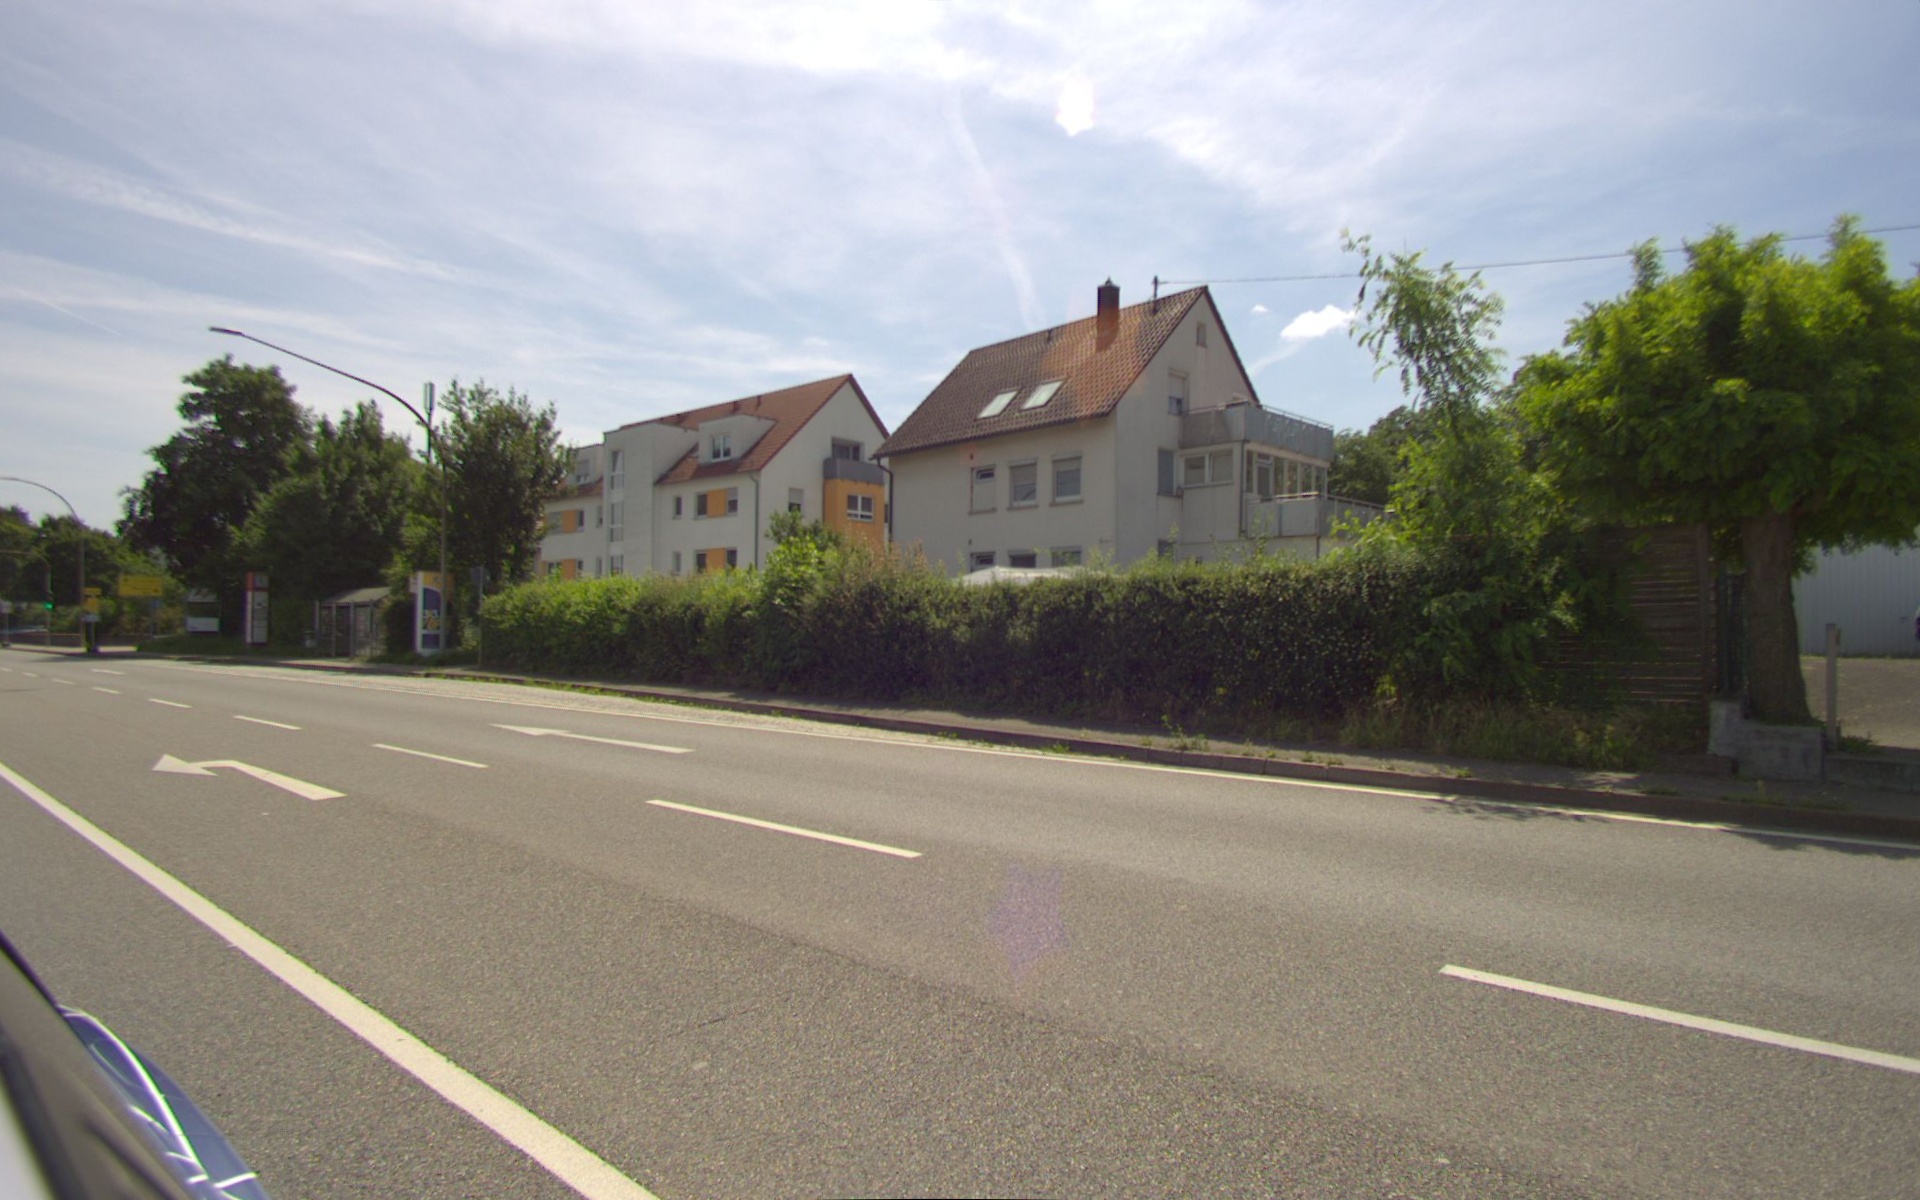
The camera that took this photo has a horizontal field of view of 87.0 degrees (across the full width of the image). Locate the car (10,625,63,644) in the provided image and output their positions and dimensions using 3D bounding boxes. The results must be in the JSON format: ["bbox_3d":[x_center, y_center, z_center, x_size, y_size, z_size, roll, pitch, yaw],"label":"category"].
[{"bbox_3d":[-99.048,3.709,108.559,1.997,1.783,3.950,0,1,37],"label":"car"}]
